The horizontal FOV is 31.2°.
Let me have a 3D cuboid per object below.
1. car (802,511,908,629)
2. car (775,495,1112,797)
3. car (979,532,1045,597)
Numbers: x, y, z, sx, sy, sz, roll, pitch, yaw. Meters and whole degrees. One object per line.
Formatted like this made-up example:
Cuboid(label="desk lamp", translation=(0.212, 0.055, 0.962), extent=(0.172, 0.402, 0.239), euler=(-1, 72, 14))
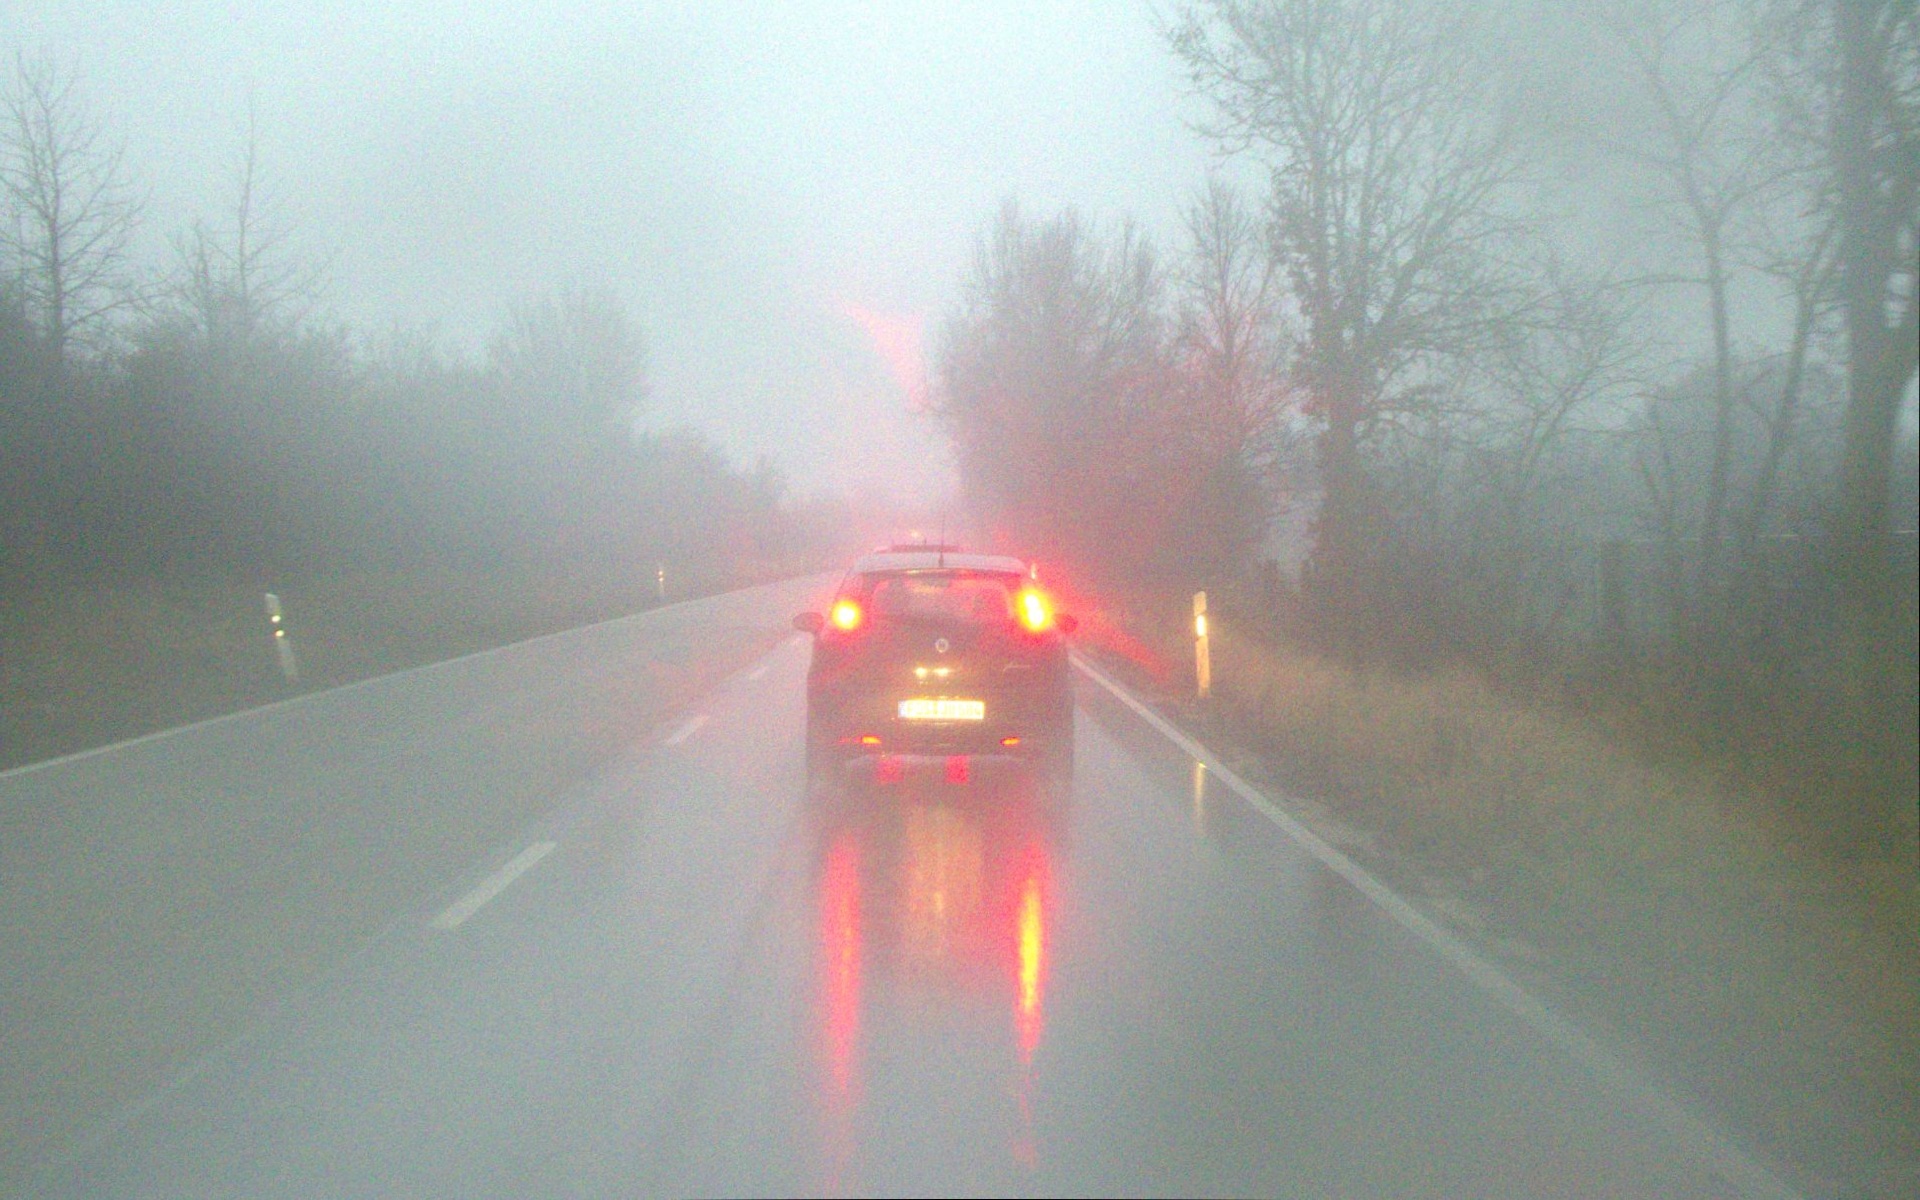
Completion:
Cuboid(label="car", translation=(-1.720, -0.513, 57.292), extent=(1.574, 1.868, 3.709), euler=(1, 1, 1))
Cuboid(label="car", translation=(-0.073, 0.239, 22.686), extent=(1.993, 1.778, 4.000), euler=(1, 1, 1))
Cuboid(label="car", translation=(1.352, -0.925, 87.617), extent=(1.564, 1.586, 3.488), euler=(1, 1, 2))
